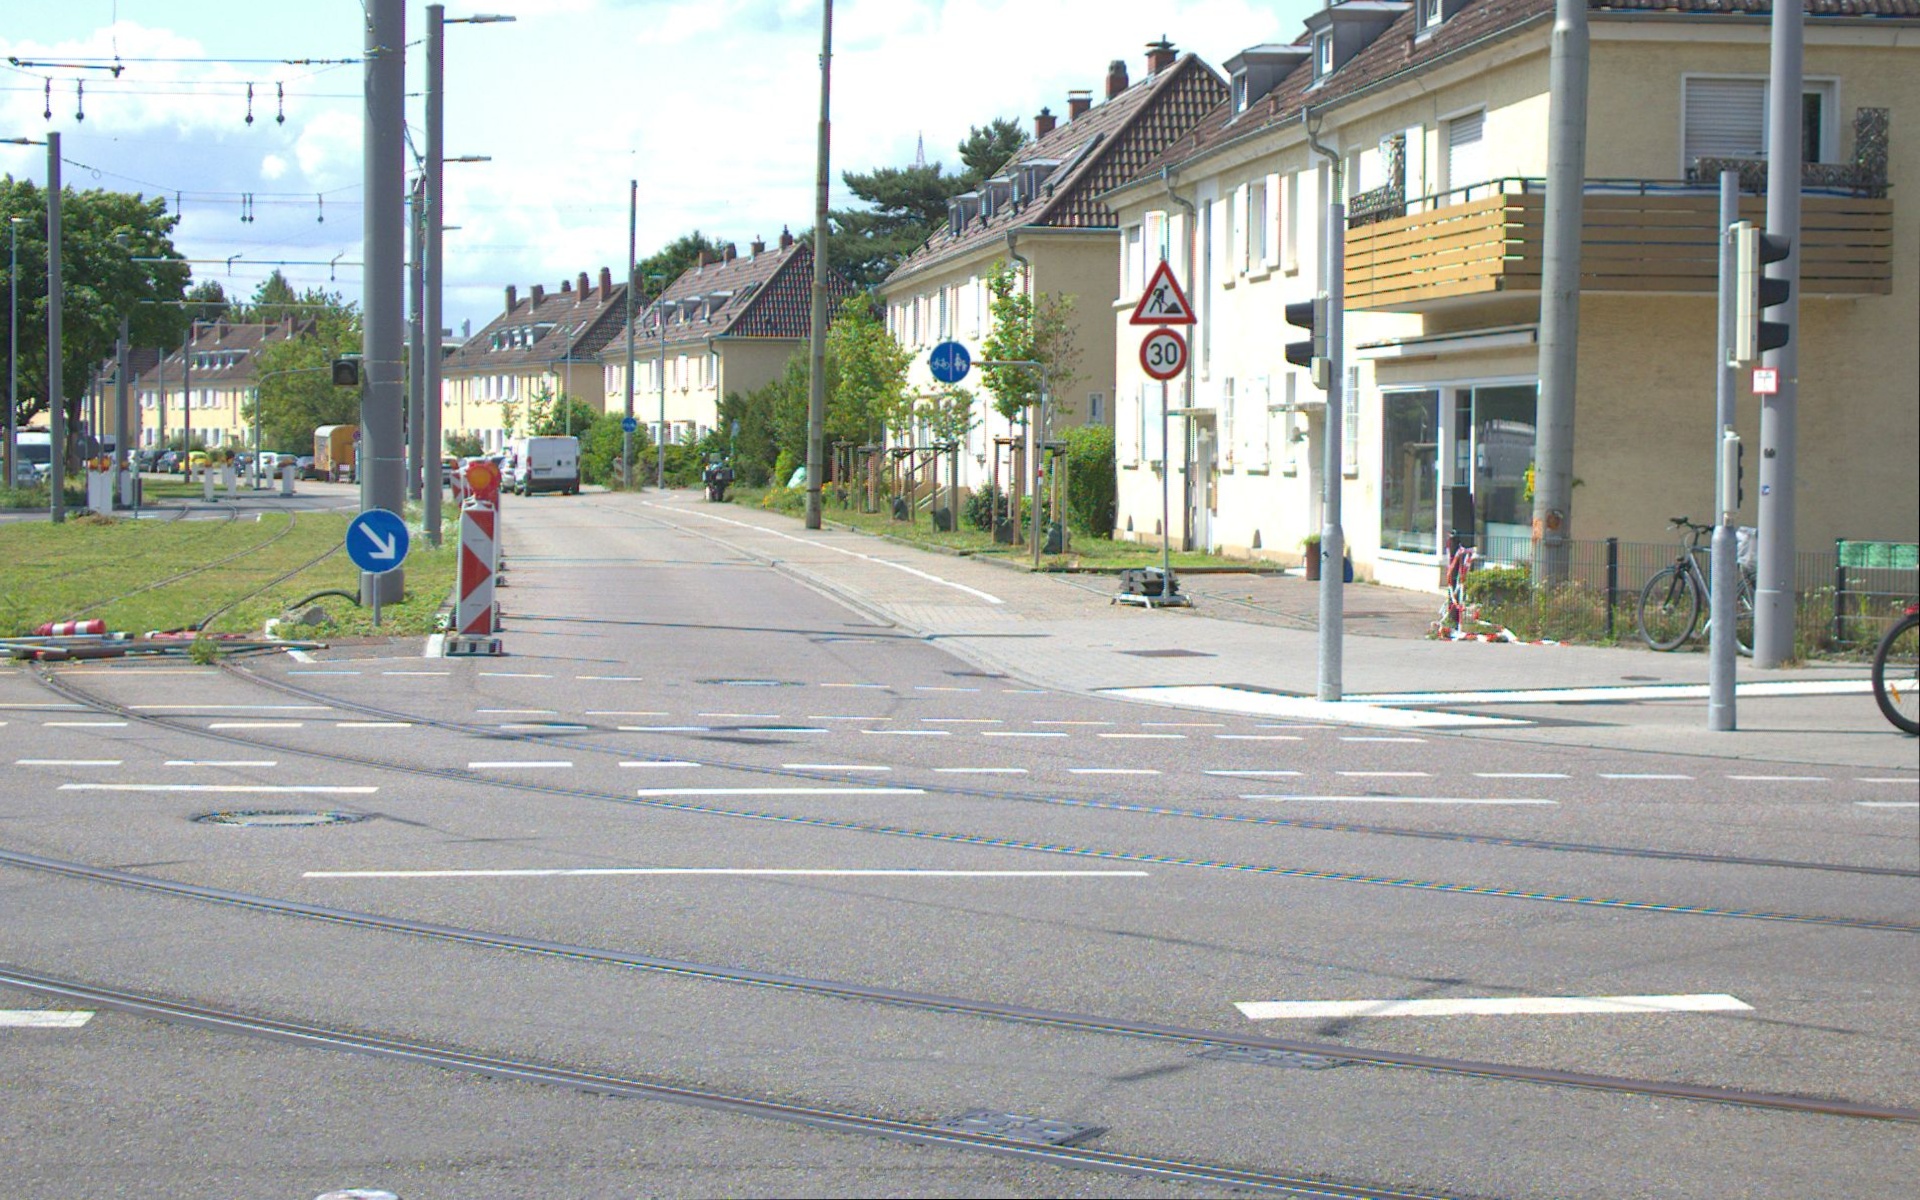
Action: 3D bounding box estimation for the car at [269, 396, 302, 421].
[{"bbox_3d":[-39.709,-11.254,202.362,1.257,1.421,2.666,-2,4,-25],"label":"car"}]

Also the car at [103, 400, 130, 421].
[{"bbox_3d":[-58.953,-13.235,240.269,1.166,1.421,2.666,-2,4,-29],"label":"car"}]

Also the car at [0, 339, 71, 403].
[{"bbox_3d":[-34.626,-8.566,128.341,2.406,2.330,4.882,-1,4,-18],"label":"car"}]

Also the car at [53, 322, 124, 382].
[{"bbox_3d":[-35.618,-10.144,140.425,2.406,2.361,4.882,-1,5,-18],"label":"car"}]

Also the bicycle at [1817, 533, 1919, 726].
[{"bbox_3d":[6.300,0.146,21.123,2.027,1.098,0.715,-2,4,-28],"label":"bicycle"}]

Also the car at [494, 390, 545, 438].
[{"bbox_3d":[-17.931,-7.589,139.859,1.567,1.890,3.791,-1,4,-15],"label":"car"}]

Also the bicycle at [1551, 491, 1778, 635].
[{"bbox_3d":[5.947,-0.339,29.158,0.593,1.092,2.277,-2,4,-26],"label":"bicycle"}]

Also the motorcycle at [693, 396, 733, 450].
[{"bbox_3d":[-7.582,-5.428,105.448,1.066,1.629,2.084,0,4,-9],"label":"motorcycle"}]

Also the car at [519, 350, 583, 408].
[{"bbox_3d":[-15.542,-8.384,130.368,2.065,2.141,4.881,-1,4,-11],"label":"car"}]

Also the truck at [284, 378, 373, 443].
[{"bbox_3d":[-35.022,-10.532,190.396,2.640,3.481,9.441,-2,4,-24],"label":"truck"}]

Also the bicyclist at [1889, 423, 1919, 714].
[{"bbox_3d":[6.342,-0.196,21.124,0.957,1.768,0.720,-2,4,-27],"label":"bicyclist"}]
